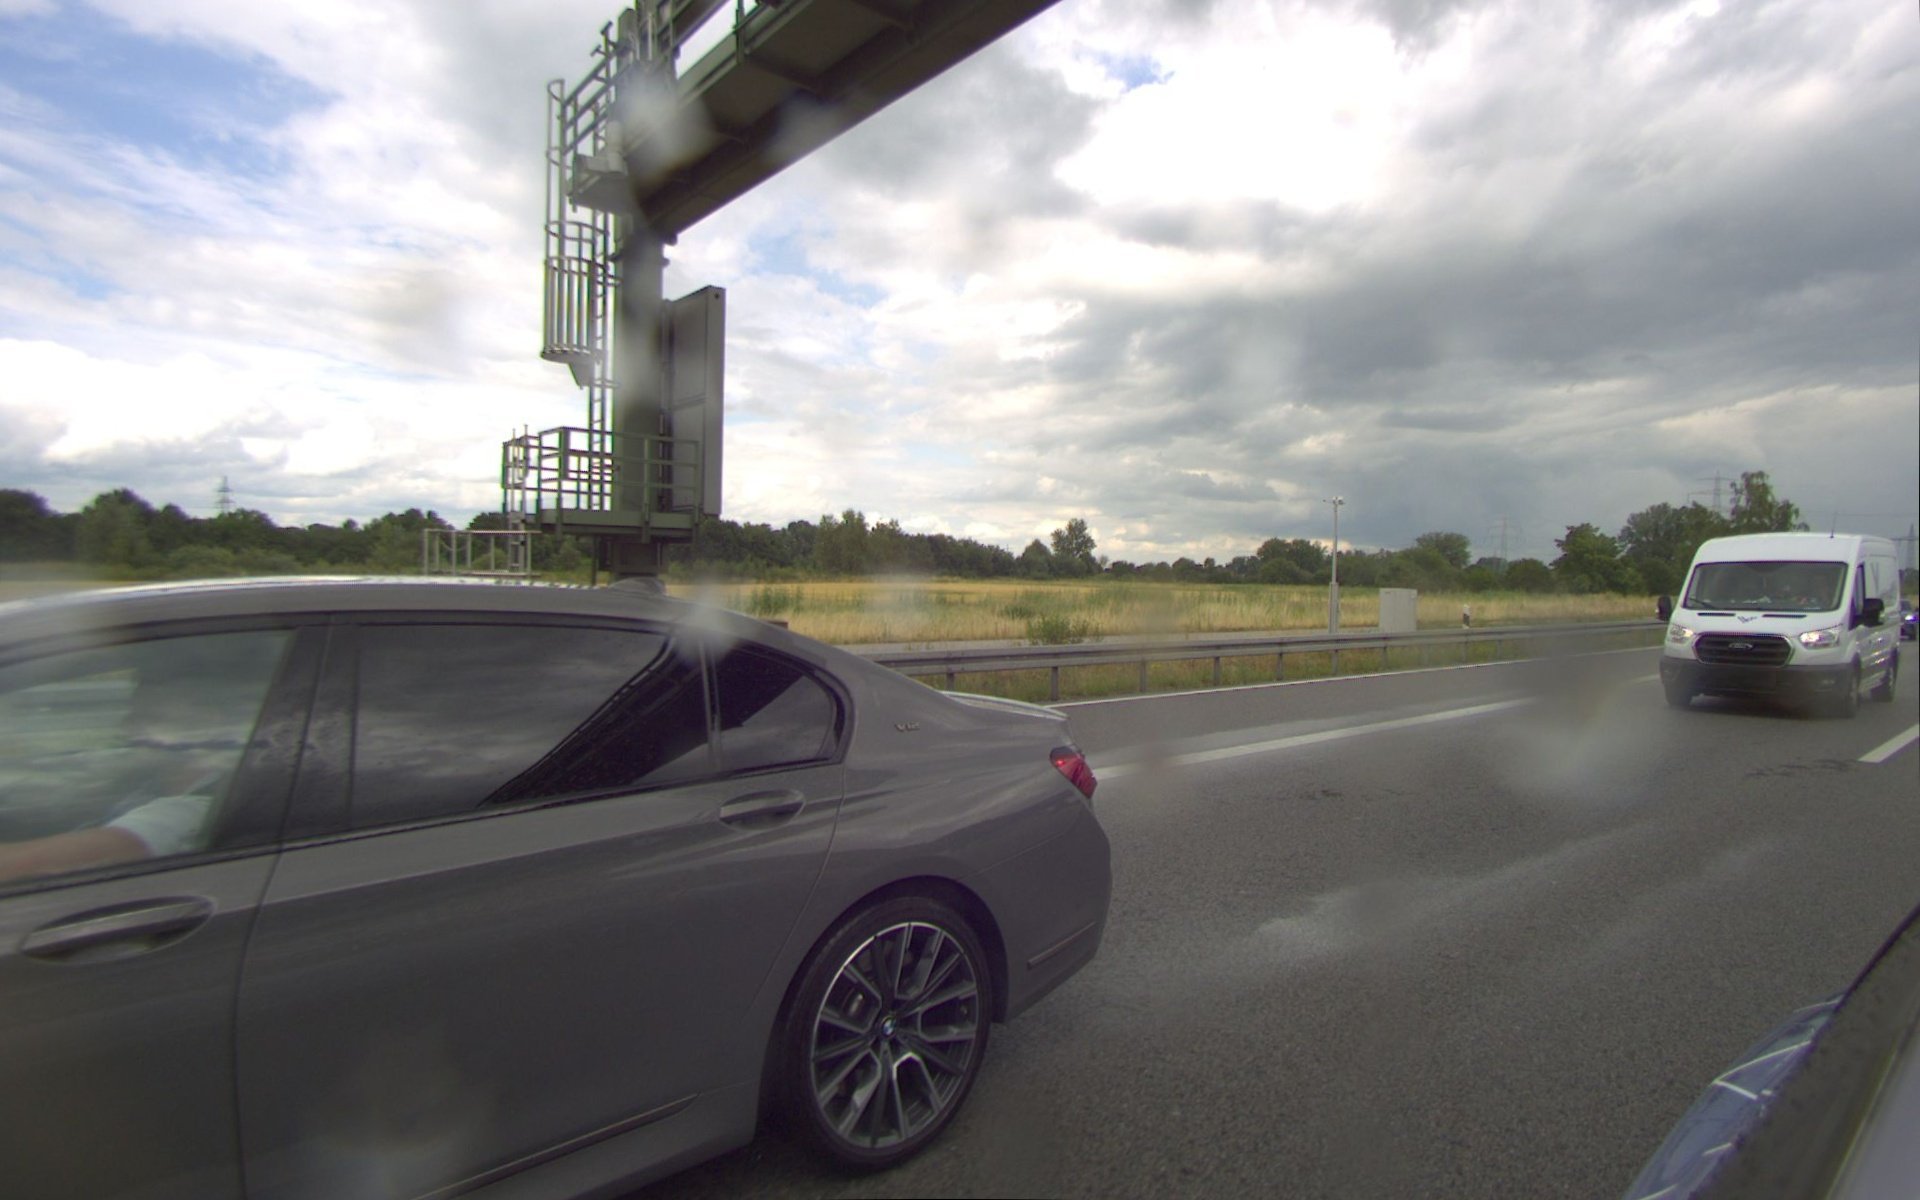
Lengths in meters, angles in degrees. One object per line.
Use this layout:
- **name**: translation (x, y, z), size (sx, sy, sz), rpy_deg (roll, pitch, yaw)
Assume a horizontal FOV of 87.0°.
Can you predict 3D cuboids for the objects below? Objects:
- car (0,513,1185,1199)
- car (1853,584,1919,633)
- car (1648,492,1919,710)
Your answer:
- **car**: translation (-1.696, 0.616, 2.368), size (4.692, 1.510, 1.943), rpy_deg (0, 1, -41)
- **car**: translation (34.557, 0.277, 37.344), size (4.553, 1.662, 1.996), rpy_deg (0, 1, -44)
- **car**: translation (11.851, -0.026, 14.332), size (5.352, 2.532, 2.144), rpy_deg (0, 1, -40)
